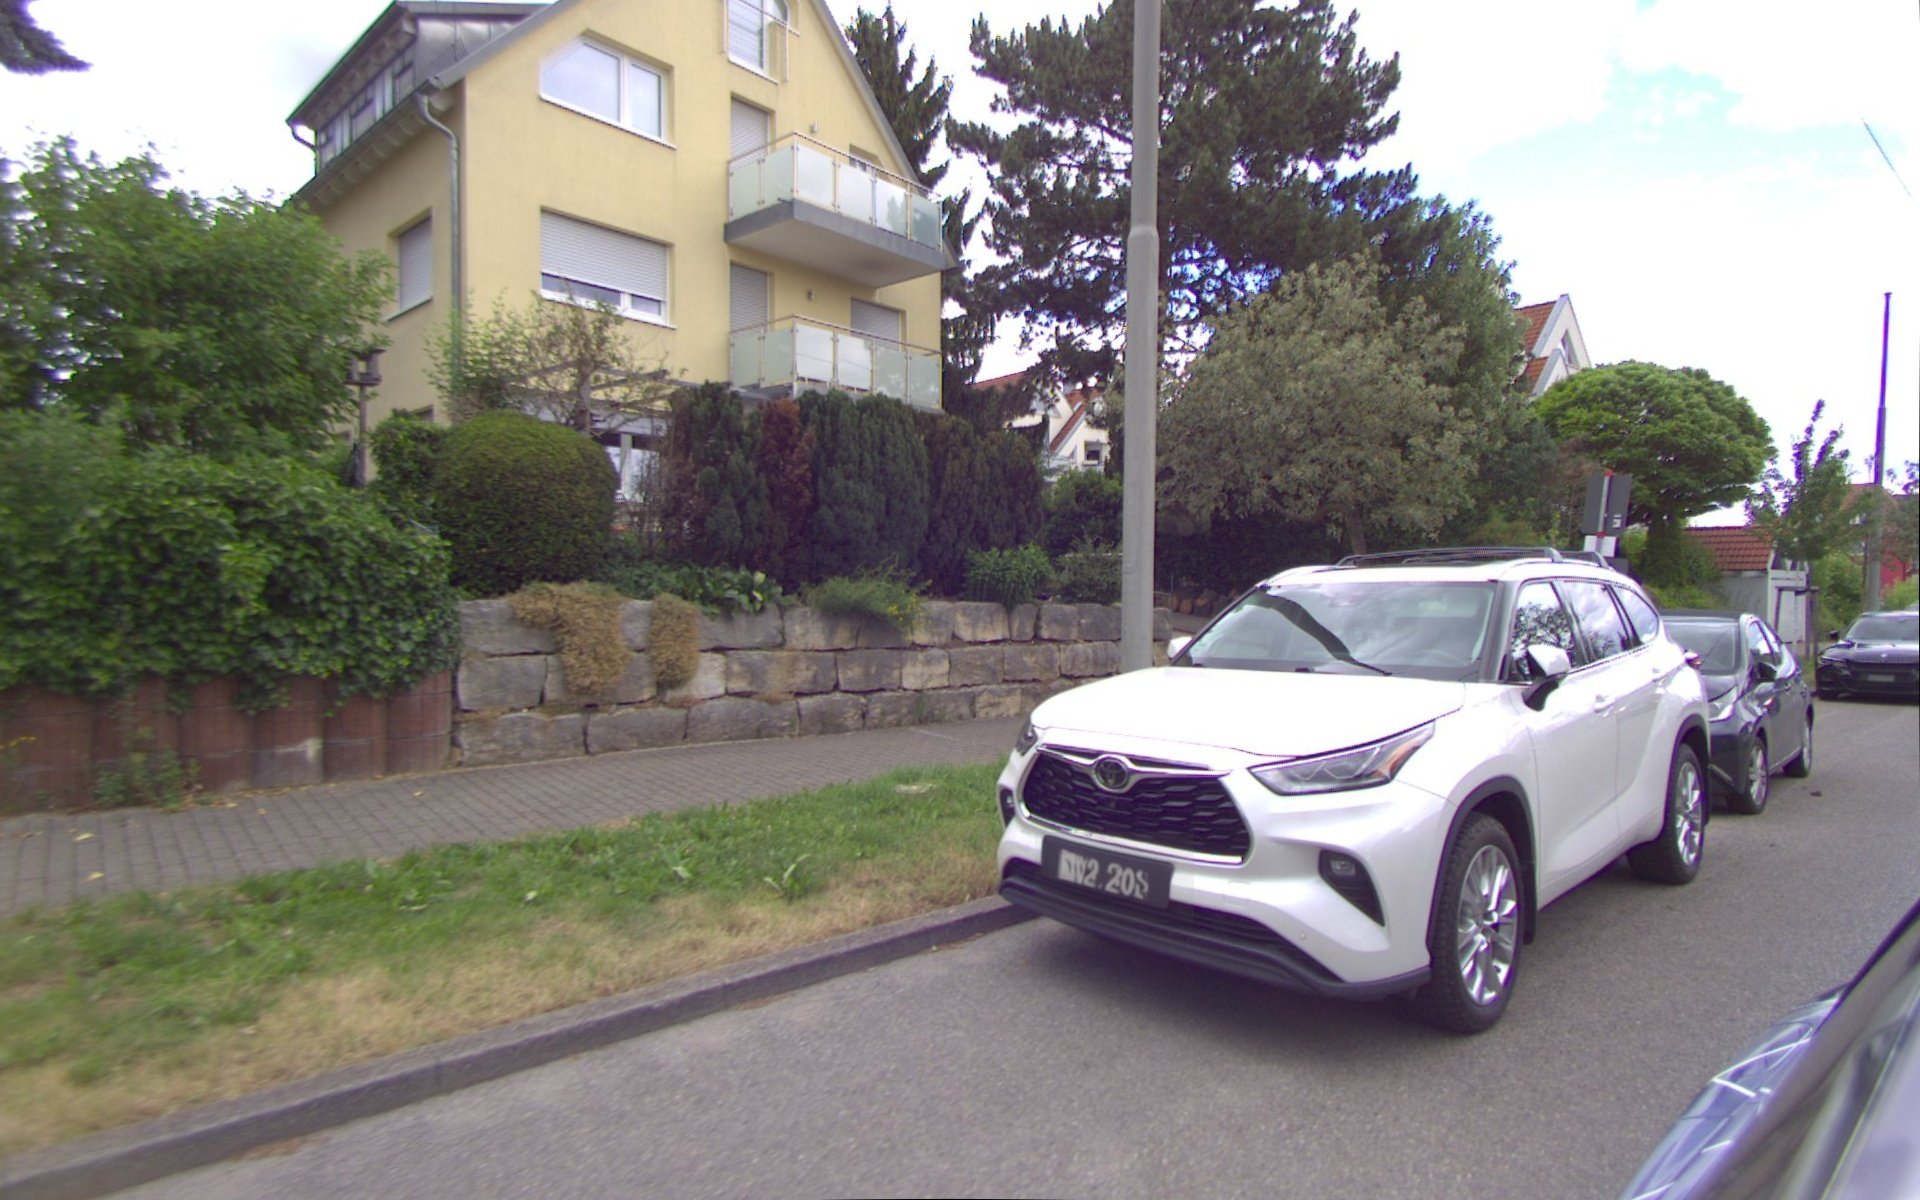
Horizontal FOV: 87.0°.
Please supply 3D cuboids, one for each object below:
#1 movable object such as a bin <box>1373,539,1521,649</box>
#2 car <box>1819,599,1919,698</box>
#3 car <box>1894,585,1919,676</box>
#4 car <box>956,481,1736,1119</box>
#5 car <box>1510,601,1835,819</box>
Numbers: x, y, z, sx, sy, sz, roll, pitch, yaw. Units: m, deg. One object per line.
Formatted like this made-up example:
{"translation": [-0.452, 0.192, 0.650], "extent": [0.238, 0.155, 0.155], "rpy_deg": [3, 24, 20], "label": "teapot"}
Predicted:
{"translation": [9.610, -0.098, 20.029], "extent": [1.321, 2.039, 2.312], "rpy_deg": [0, -1, -43], "label": "movable object such as a bin"}
{"translation": [15.861, 0.728, 16.673], "extent": [4.469, 1.475, 1.833], "rpy_deg": [0, -1, -40], "label": "car"}
{"translation": [20.502, 0.594, 20.364], "extent": [4.466, 1.733, 1.835], "rpy_deg": [0, 1, -38], "label": "car"}
{"translation": [2.289, 0.567, 5.107], "extent": [4.625, 1.801, 1.801], "rpy_deg": [0, -1, -43], "label": "car"}
{"translation": [6.124, 0.745, 8.560], "extent": [3.447, 1.461, 1.560], "rpy_deg": [0, -1, -43], "label": "car"}
